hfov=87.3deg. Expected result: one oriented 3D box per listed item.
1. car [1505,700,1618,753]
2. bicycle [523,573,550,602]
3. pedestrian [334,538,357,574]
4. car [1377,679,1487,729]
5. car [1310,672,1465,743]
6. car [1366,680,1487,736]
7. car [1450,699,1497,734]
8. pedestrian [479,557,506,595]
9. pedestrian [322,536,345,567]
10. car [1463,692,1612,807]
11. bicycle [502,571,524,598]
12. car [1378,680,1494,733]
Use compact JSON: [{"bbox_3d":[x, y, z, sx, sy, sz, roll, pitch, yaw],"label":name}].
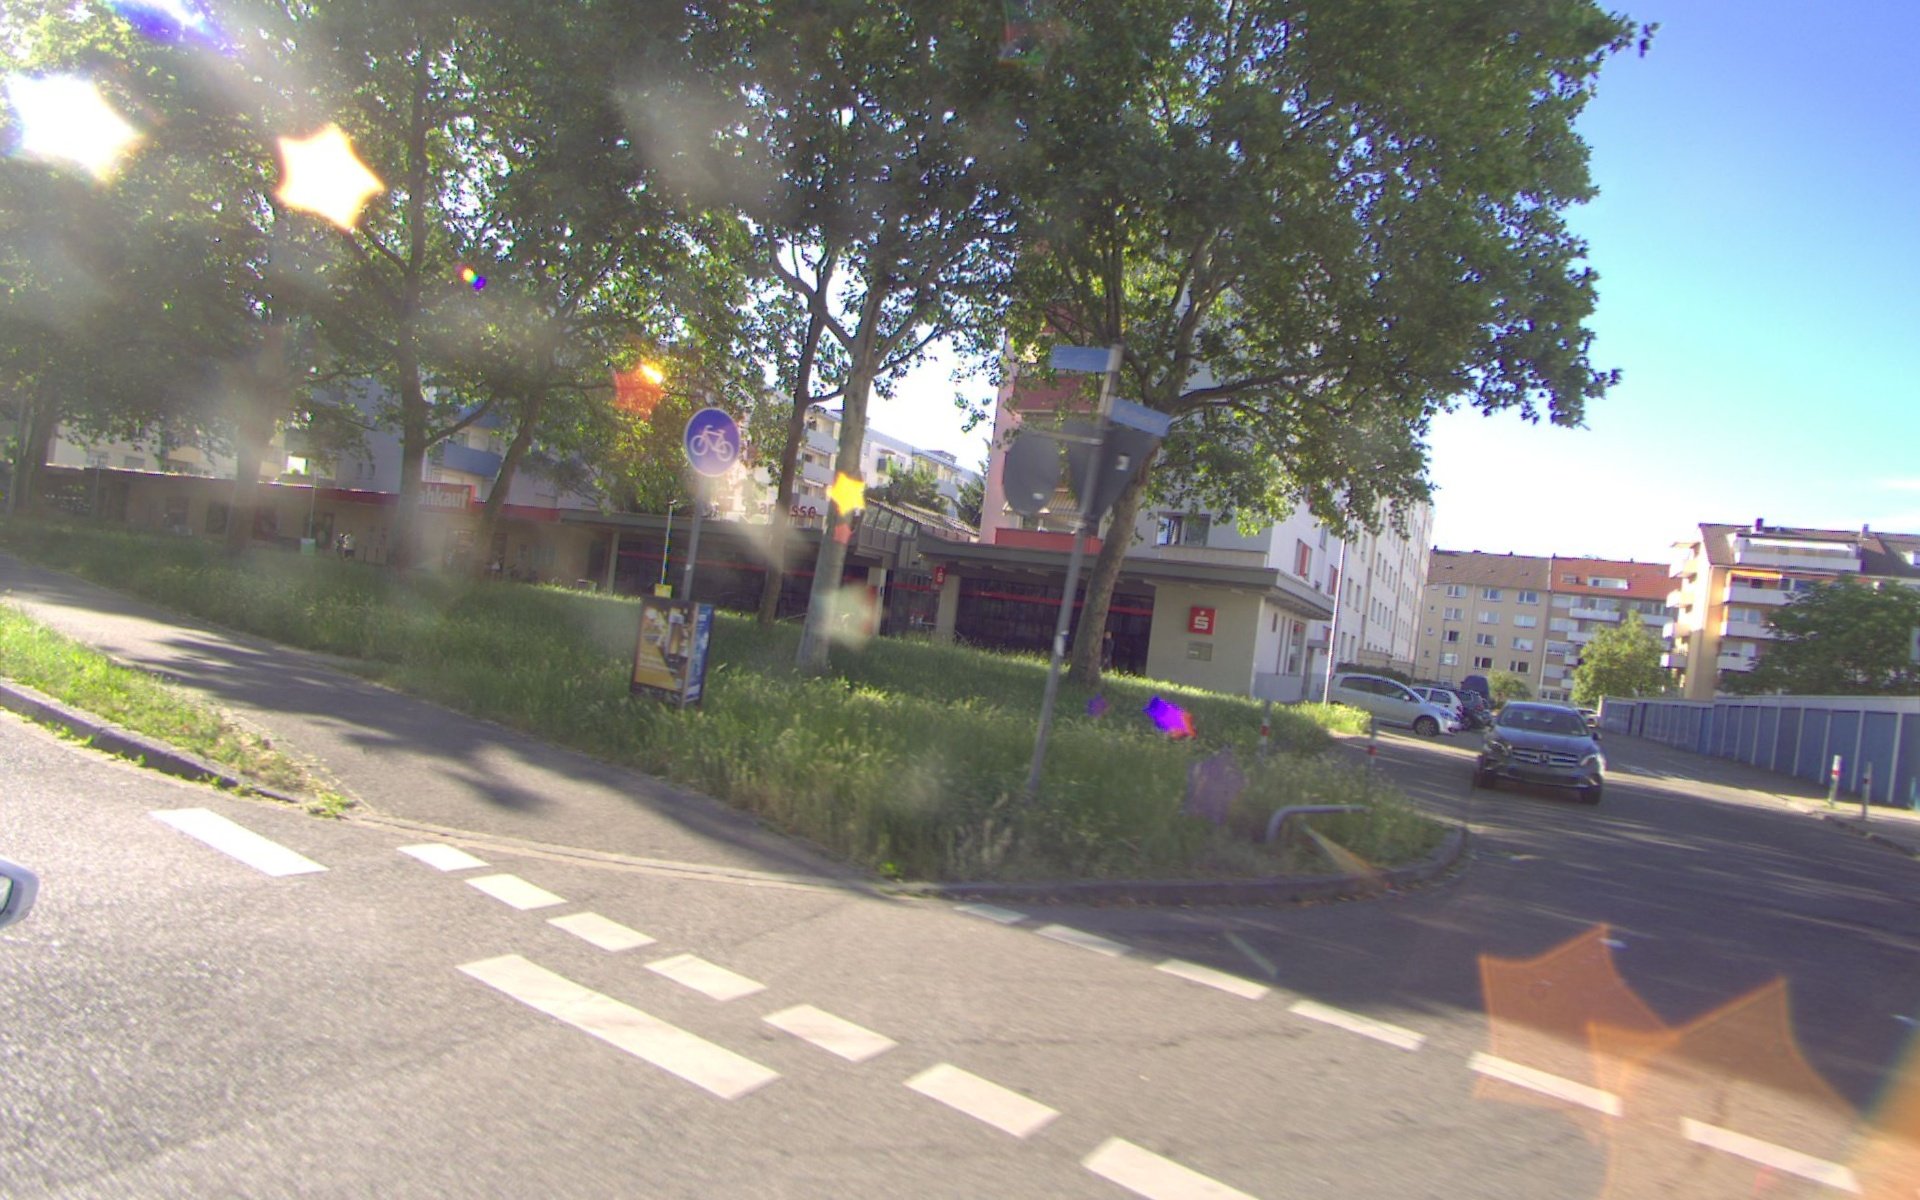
[{"bbox_3d":[22.689,4.771,37.981,3.506,1.440,1.907,8,-1,-24],"label":"car"},{"bbox_3d":[-19.843,-0.588,47.082,0.594,1.193,1.832,9,-2,-37],"label":"bicycle"},{"bbox_3d":[-31.267,-2.239,51.203,0.703,1.721,0.496,8,0,26],"label":"pedestrian"},{"bbox_3d":[21.049,4.610,44.919,4.134,1.576,1.980,7,-1,31],"label":"car"},{"bbox_3d":[13.019,3.233,30.646,4.044,1.521,1.874,6,-2,30],"label":"car"},{"bbox_3d":[18.865,4.339,40.706,4.134,1.576,1.980,7,-1,31],"label":"car"},{"bbox_3d":[25.617,5.780,50.269,1.617,1.440,4.001,7,-2,23],"label":"car"},{"bbox_3d":[-21.724,-1.107,46.768,0.703,1.604,0.672,8,0,26],"label":"pedestrian"},{"bbox_3d":[-31.396,-2.414,50.447,0.703,1.448,0.533,8,0,26],"label":"pedestrian"},{"bbox_3d":[10.322,2.589,18.122,1.949,1.549,4.201,6,-2,29],"label":"car"},{"bbox_3d":[-21.214,-0.751,47.700,0.593,1.193,1.836,8,-2,-31],"label":"bicycle"},{"bbox_3d":[20.083,4.482,42.472,4.134,1.576,1.980,7,-1,31],"label":"car"}]
